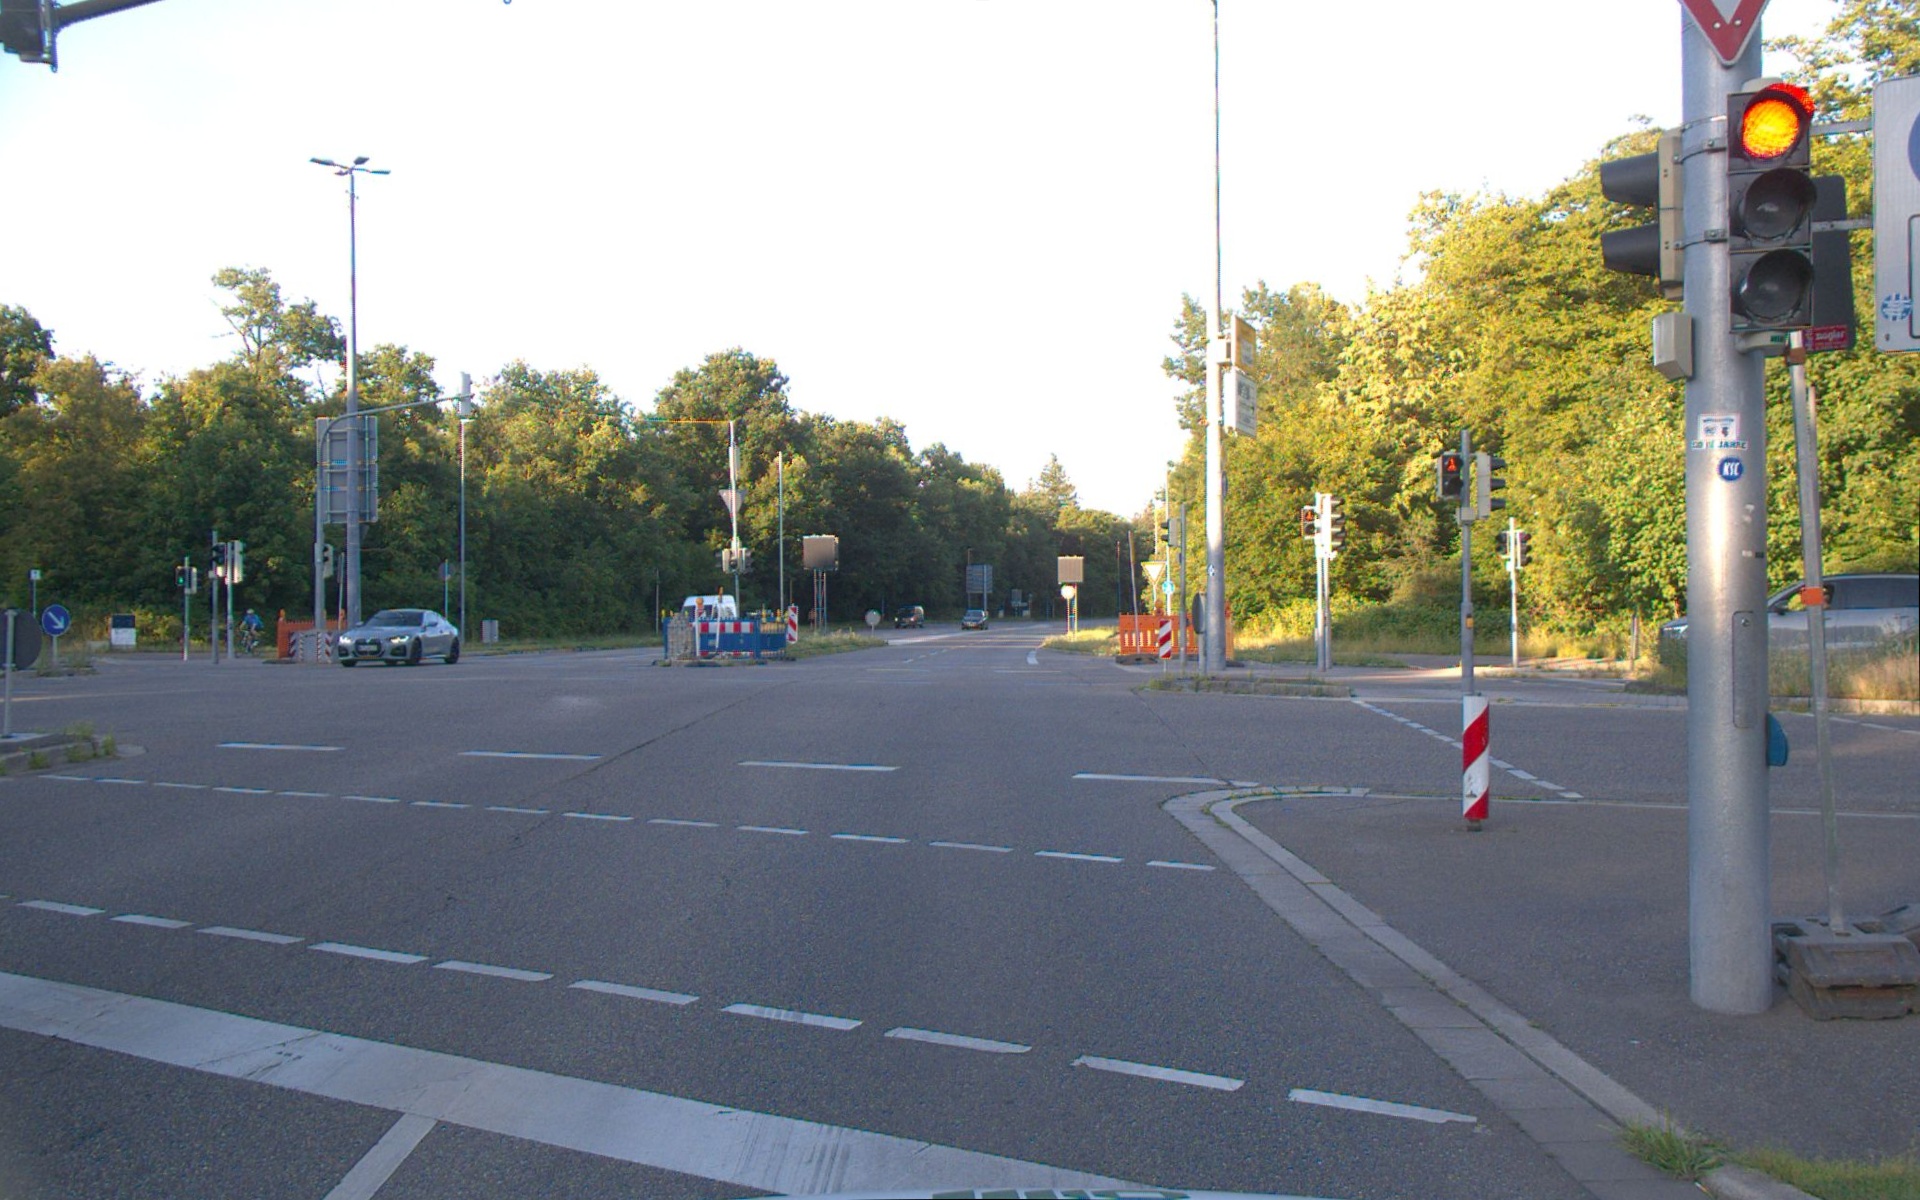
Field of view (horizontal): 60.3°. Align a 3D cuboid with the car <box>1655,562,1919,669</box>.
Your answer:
[{"bbox_3d":[13.746,0.241,26.491,4.716,1.626,2.000,-1,0,21],"label":"car"}]

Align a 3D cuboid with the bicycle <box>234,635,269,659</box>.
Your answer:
[{"bbox_3d":[-25.519,1.690,59.610,1.096,0.840,0.407,0,0,-42],"label":"bicycle"}]

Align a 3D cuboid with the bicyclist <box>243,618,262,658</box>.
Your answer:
[{"bbox_3d":[-25.505,1.369,59.625,0.515,1.411,0.401,0,0,-42],"label":"bicyclist"}]

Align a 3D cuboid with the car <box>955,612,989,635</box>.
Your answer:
[{"bbox_3d":[0.969,1.835,131.568,1.951,1.668,4.004,-2,1,11],"label":"car"}]

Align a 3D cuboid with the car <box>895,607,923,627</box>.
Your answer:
[{"bbox_3d":[-4.604,1.532,150.006,1.951,1.668,4.003,0,0,8],"label":"car"}]

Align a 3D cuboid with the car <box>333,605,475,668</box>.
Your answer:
[{"bbox_3d":[-13.872,0.876,41.555,1.852,1.466,4.502,0,0,3],"label":"car"}]

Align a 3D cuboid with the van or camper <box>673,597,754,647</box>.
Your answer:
[{"bbox_3d":[-13.620,1.172,91.933,2.824,2.699,7.126,0,0,5],"label":"van or camper"}]

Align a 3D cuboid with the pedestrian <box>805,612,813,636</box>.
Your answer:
[{"bbox_3d":[-12.756,2.010,139.664,0.511,2.049,0.600,1,-1,-1],"label":"pedestrian"}]
